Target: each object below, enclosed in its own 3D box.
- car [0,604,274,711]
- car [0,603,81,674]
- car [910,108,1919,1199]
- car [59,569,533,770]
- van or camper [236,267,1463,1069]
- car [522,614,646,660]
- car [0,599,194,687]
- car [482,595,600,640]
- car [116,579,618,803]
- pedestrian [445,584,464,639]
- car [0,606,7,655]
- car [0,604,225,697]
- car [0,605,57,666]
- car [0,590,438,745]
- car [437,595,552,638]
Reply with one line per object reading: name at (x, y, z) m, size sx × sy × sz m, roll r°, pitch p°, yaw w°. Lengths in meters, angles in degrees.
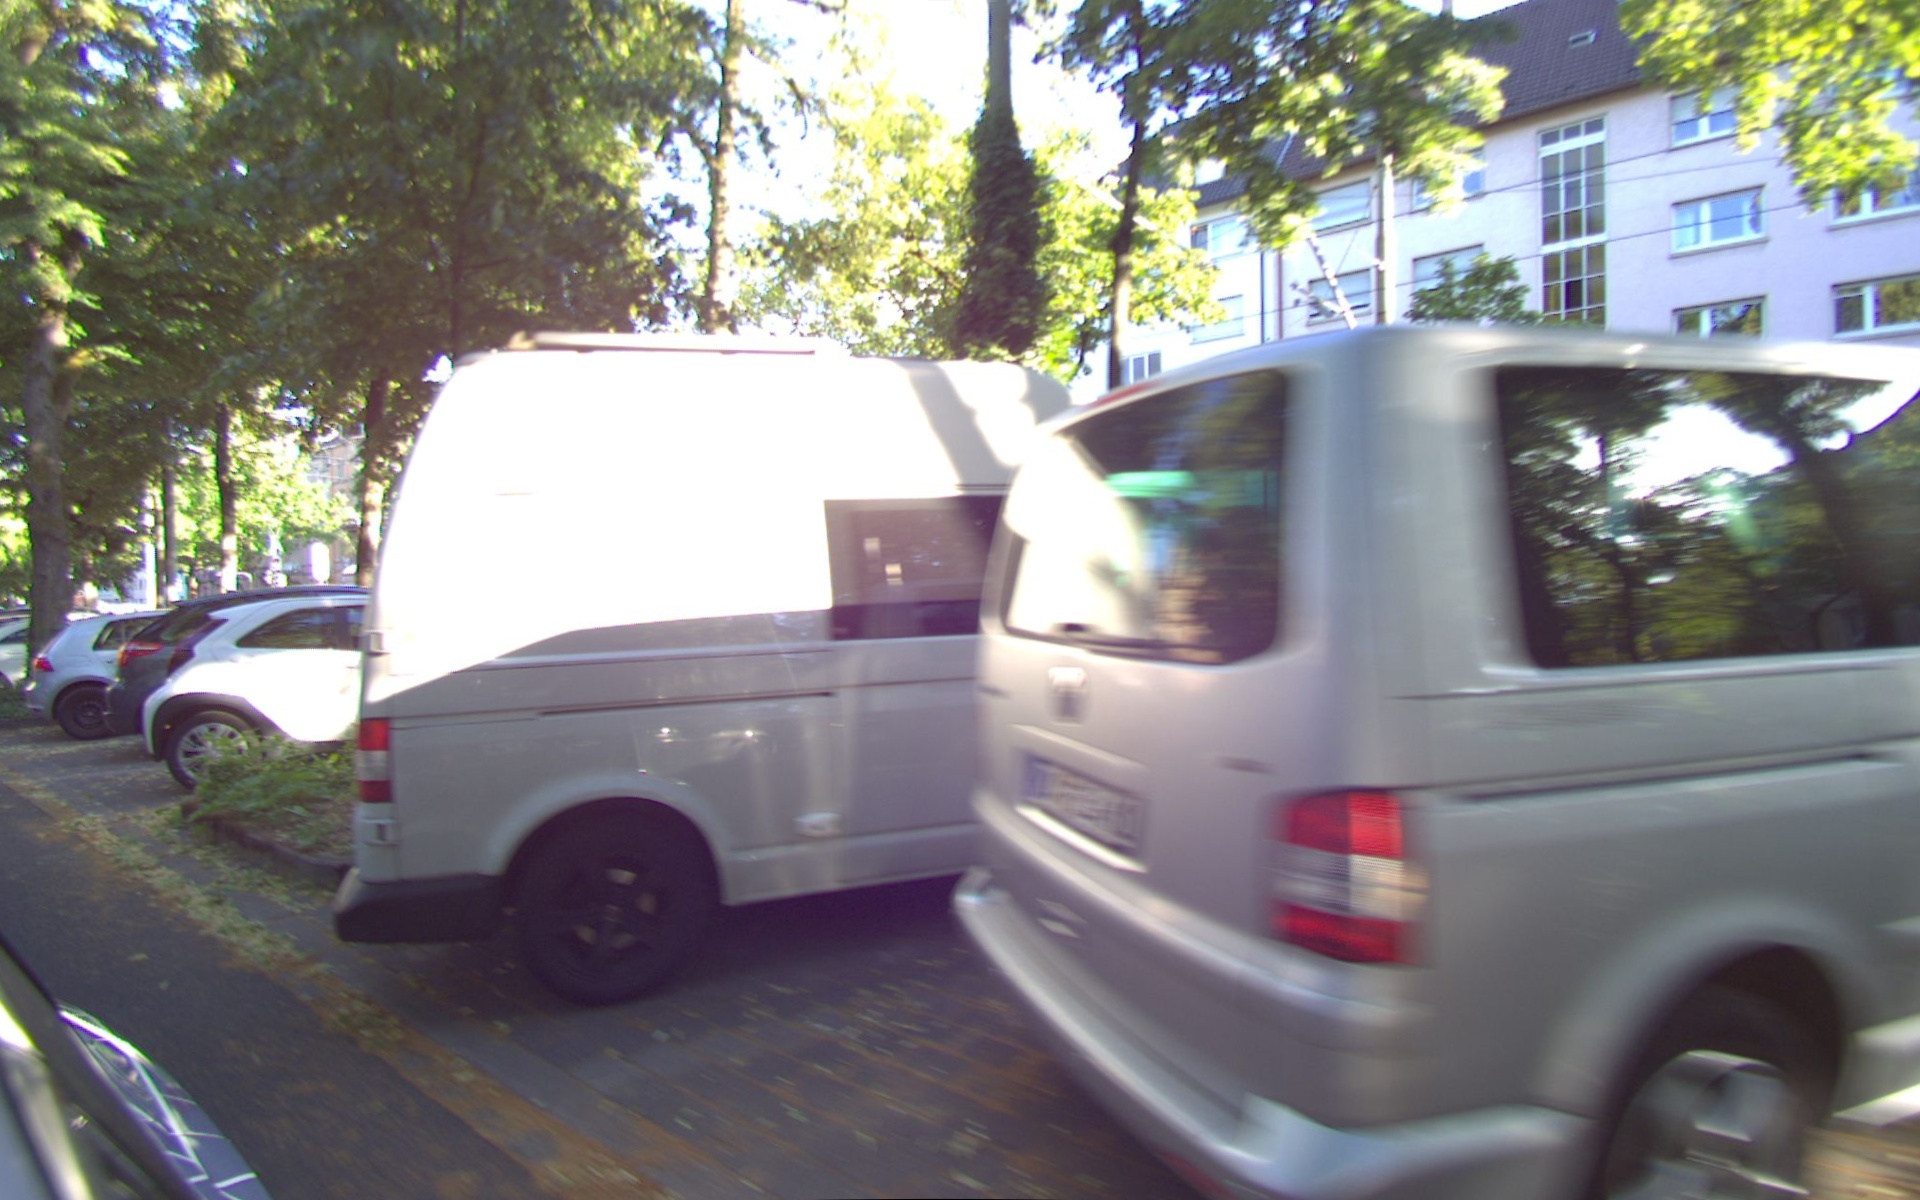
car at (-14.179, 0.925, 16.690) m, size 4.389 × 1.414 × 1.863 m, roll -4°, pitch 1°, yaw -22°
car at (-23.468, 0.978, 24.215) m, size 3.296 × 1.579 × 1.577 m, roll -4°, pitch 1°, yaw -23°
car at (2.487, 0.212, 3.038) m, size 4.803 × 1.992 × 2.052 m, roll -3°, pitch 2°, yaw -18°
car at (-6.913, 0.605, 11.093) m, size 3.971 × 1.674 × 1.863 m, roll -4°, pitch 2°, yaw -25°
van or camper at (-0.261, 0.067, 4.918) m, size 4.802 × 2.488 × 2.052 m, roll -3°, pitch 2°, yaw -20°
car at (-13.044, 1.271, 35.213) m, size 3.931 × 1.530 × 1.592 m, roll 1°, pitch -1°, yaw -20°
car at (-18.203, 0.865, 20.502) m, size 3.932 × 1.523 × 1.966 m, roll -4°, pitch 2°, yaw -28°
car at (-15.992, 0.681, 38.844) m, size 4.079 × 1.634 × 1.894 m, roll 1°, pitch -1°, yaw -19°
car at (-4.944, 0.660, 9.045) m, size 3.490 × 1.504 × 1.831 m, roll -4°, pitch 2°, yaw -18°
pedestrian at (-18.933, 0.436, 37.896) m, size 0.528 × 2.029 × 0.645 m, roll -1°, pitch 0°, yaw -20°
car at (-30.392, 1.066, 29.186) m, size 3.830 × 1.458 × 1.640 m, roll -4°, pitch 3°, yaw -25°
car at (-16.309, 0.924, 18.563) m, size 4.240 × 1.414 × 1.750 m, roll -4°, pitch 2°, yaw -25°
car at (-25.785, 0.998, 25.883) m, size 3.632 × 1.458 × 1.640 m, roll -4°, pitch 3°, yaw -25°
car at (-9.122, 0.735, 12.868) m, size 4.171 × 1.451 × 1.863 m, roll -4°, pitch 2°, yaw -22°
car at (-18.636, 0.655, 40.728) m, size 4.079 × 1.634 × 1.894 m, roll 1°, pitch -1°, yaw -21°
